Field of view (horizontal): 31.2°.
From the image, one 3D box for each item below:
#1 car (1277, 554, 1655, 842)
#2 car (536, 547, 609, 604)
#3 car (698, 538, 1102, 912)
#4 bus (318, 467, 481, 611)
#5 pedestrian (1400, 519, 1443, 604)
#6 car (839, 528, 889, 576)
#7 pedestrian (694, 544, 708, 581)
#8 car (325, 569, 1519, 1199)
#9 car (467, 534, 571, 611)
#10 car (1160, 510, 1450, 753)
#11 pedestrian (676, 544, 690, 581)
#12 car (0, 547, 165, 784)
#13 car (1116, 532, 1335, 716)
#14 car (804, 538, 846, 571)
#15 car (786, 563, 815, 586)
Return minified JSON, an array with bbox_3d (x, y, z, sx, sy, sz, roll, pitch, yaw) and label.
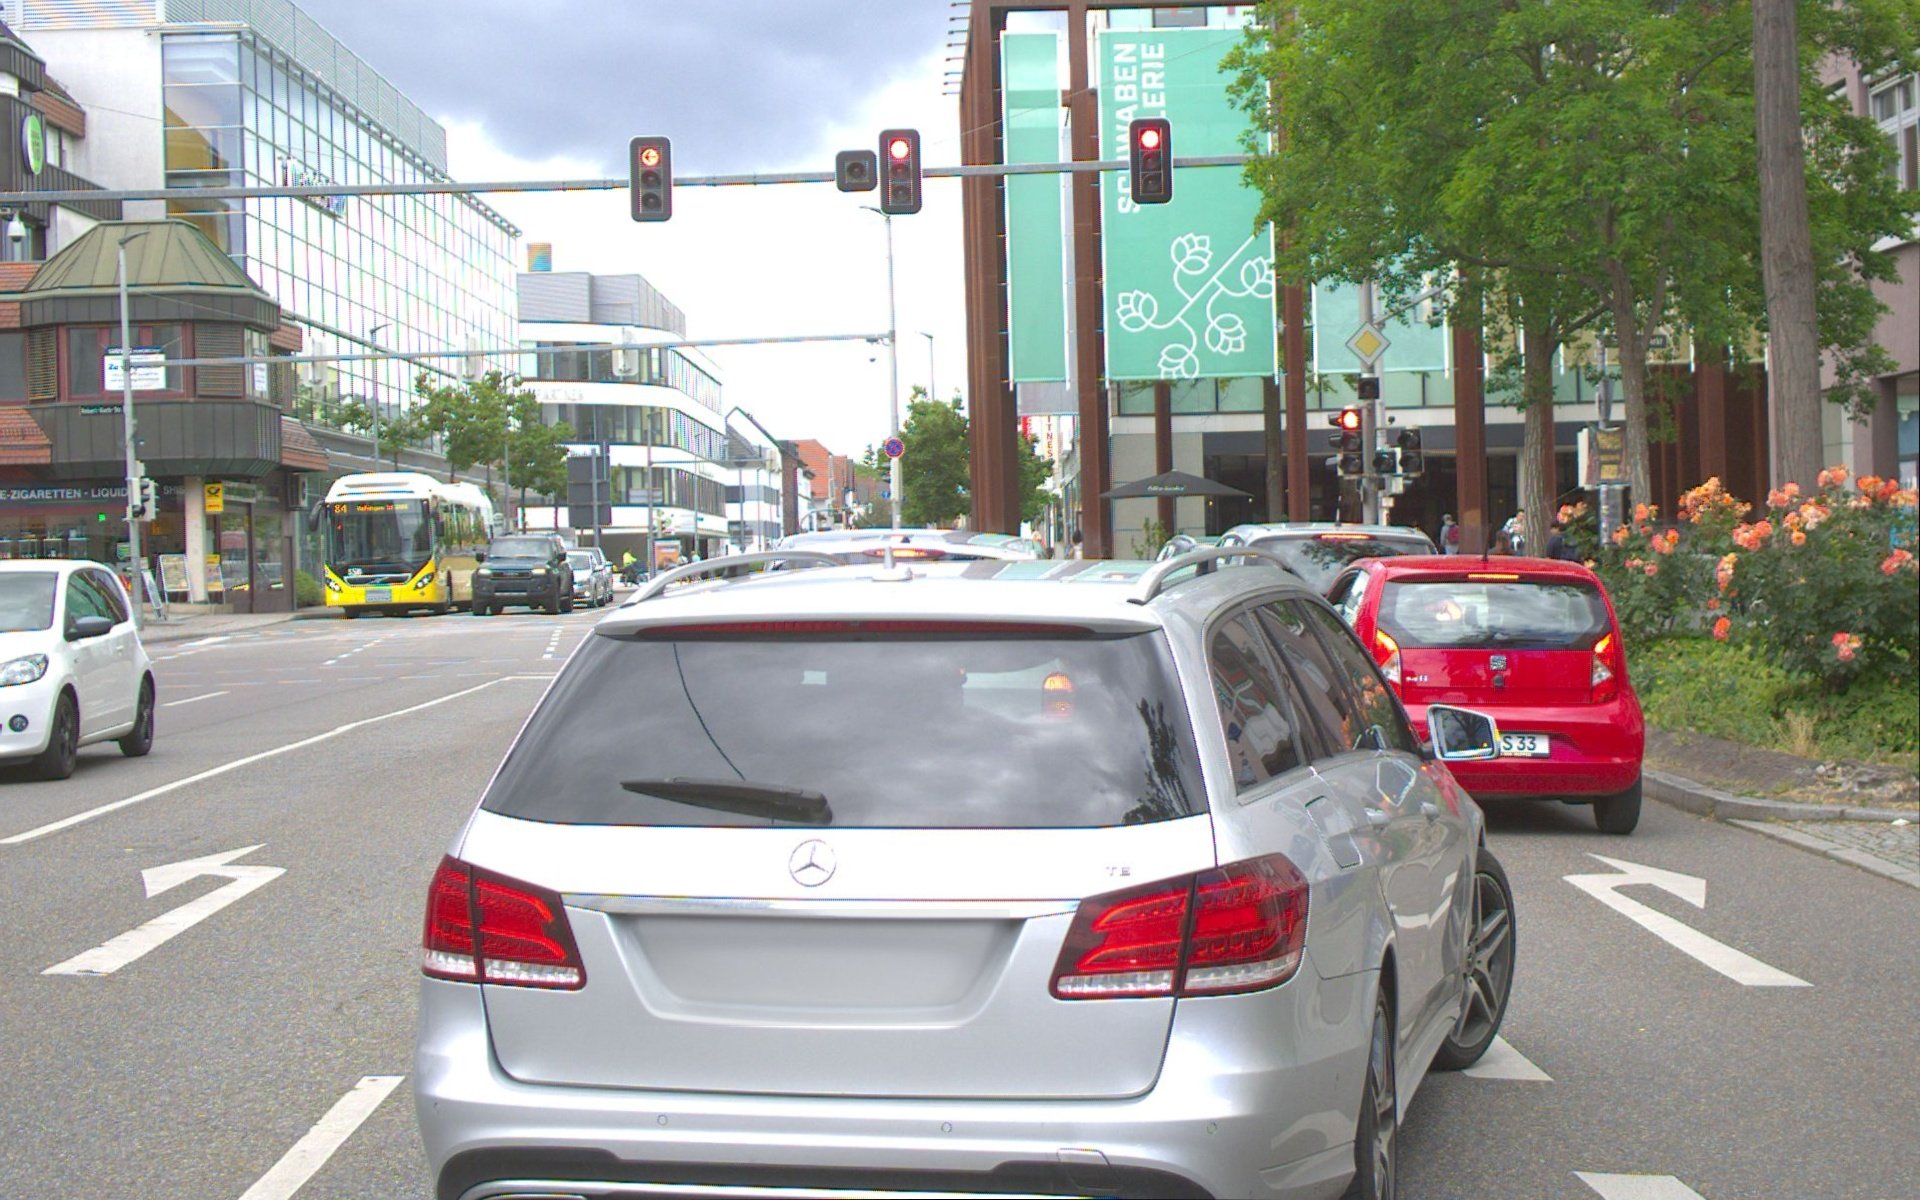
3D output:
[{"bbox_3d":[2.740,0.480,19.254,1.586,1.438,3.348,1,1,0],"label":"car"},{"bbox_3d":[-9.834,-0.647,87.426,1.555,1.387,3.288,-1,1,-2],"label":"car"},{"bbox_3d":[-0.262,0.478,15.676,1.640,1.522,3.394,0,1,-1],"label":"car"},{"bbox_3d":[-13.357,-1.473,82.546,2.686,3.250,8.654,-1,1,-2],"label":"bus"},{"bbox_3d":[9.100,-0.764,67.806,0.651,1.645,0.559,-1,1,-15],"label":"pedestrian"},{"bbox_3d":[-3.972,-2.000,141.849,1.993,1.942,4.951,-1,1,-2],"label":"car"},{"bbox_3d":[-12.364,-1.782,164.079,0.519,1.728,0.489,-1,1,8],"label":"pedestrian"},{"bbox_3d":[0.241,0.665,8.096,1.816,1.443,4.367,1,1,13],"label":"car"},{"bbox_3d":[-10.229,-0.664,79.990,1.993,1.700,4.065,-1,1,-2],"label":"car"},{"bbox_3d":[2.457,0.179,25.298,1.586,1.628,3.917,1,1,-2],"label":"car"},{"bbox_3d":[-13.210,-1.787,163.815,0.519,1.728,0.489,-1,1,8],"label":"pedestrian"},{"bbox_3d":[-6.627,0.415,23.543,1.574,1.483,3.464,-2,1,-1],"label":"car"},{"bbox_3d":[2.411,0.176,31.973,1.586,1.589,3.868,1,1,-2],"label":"car"},{"bbox_3d":[-6.451,-2.201,164.594,1.801,1.535,4.065,-1,1,1],"label":"car"},{"bbox_3d":[-11.264,-1.826,243.089,1.801,1.535,4.065,-1,1,0],"label":"car"}]
